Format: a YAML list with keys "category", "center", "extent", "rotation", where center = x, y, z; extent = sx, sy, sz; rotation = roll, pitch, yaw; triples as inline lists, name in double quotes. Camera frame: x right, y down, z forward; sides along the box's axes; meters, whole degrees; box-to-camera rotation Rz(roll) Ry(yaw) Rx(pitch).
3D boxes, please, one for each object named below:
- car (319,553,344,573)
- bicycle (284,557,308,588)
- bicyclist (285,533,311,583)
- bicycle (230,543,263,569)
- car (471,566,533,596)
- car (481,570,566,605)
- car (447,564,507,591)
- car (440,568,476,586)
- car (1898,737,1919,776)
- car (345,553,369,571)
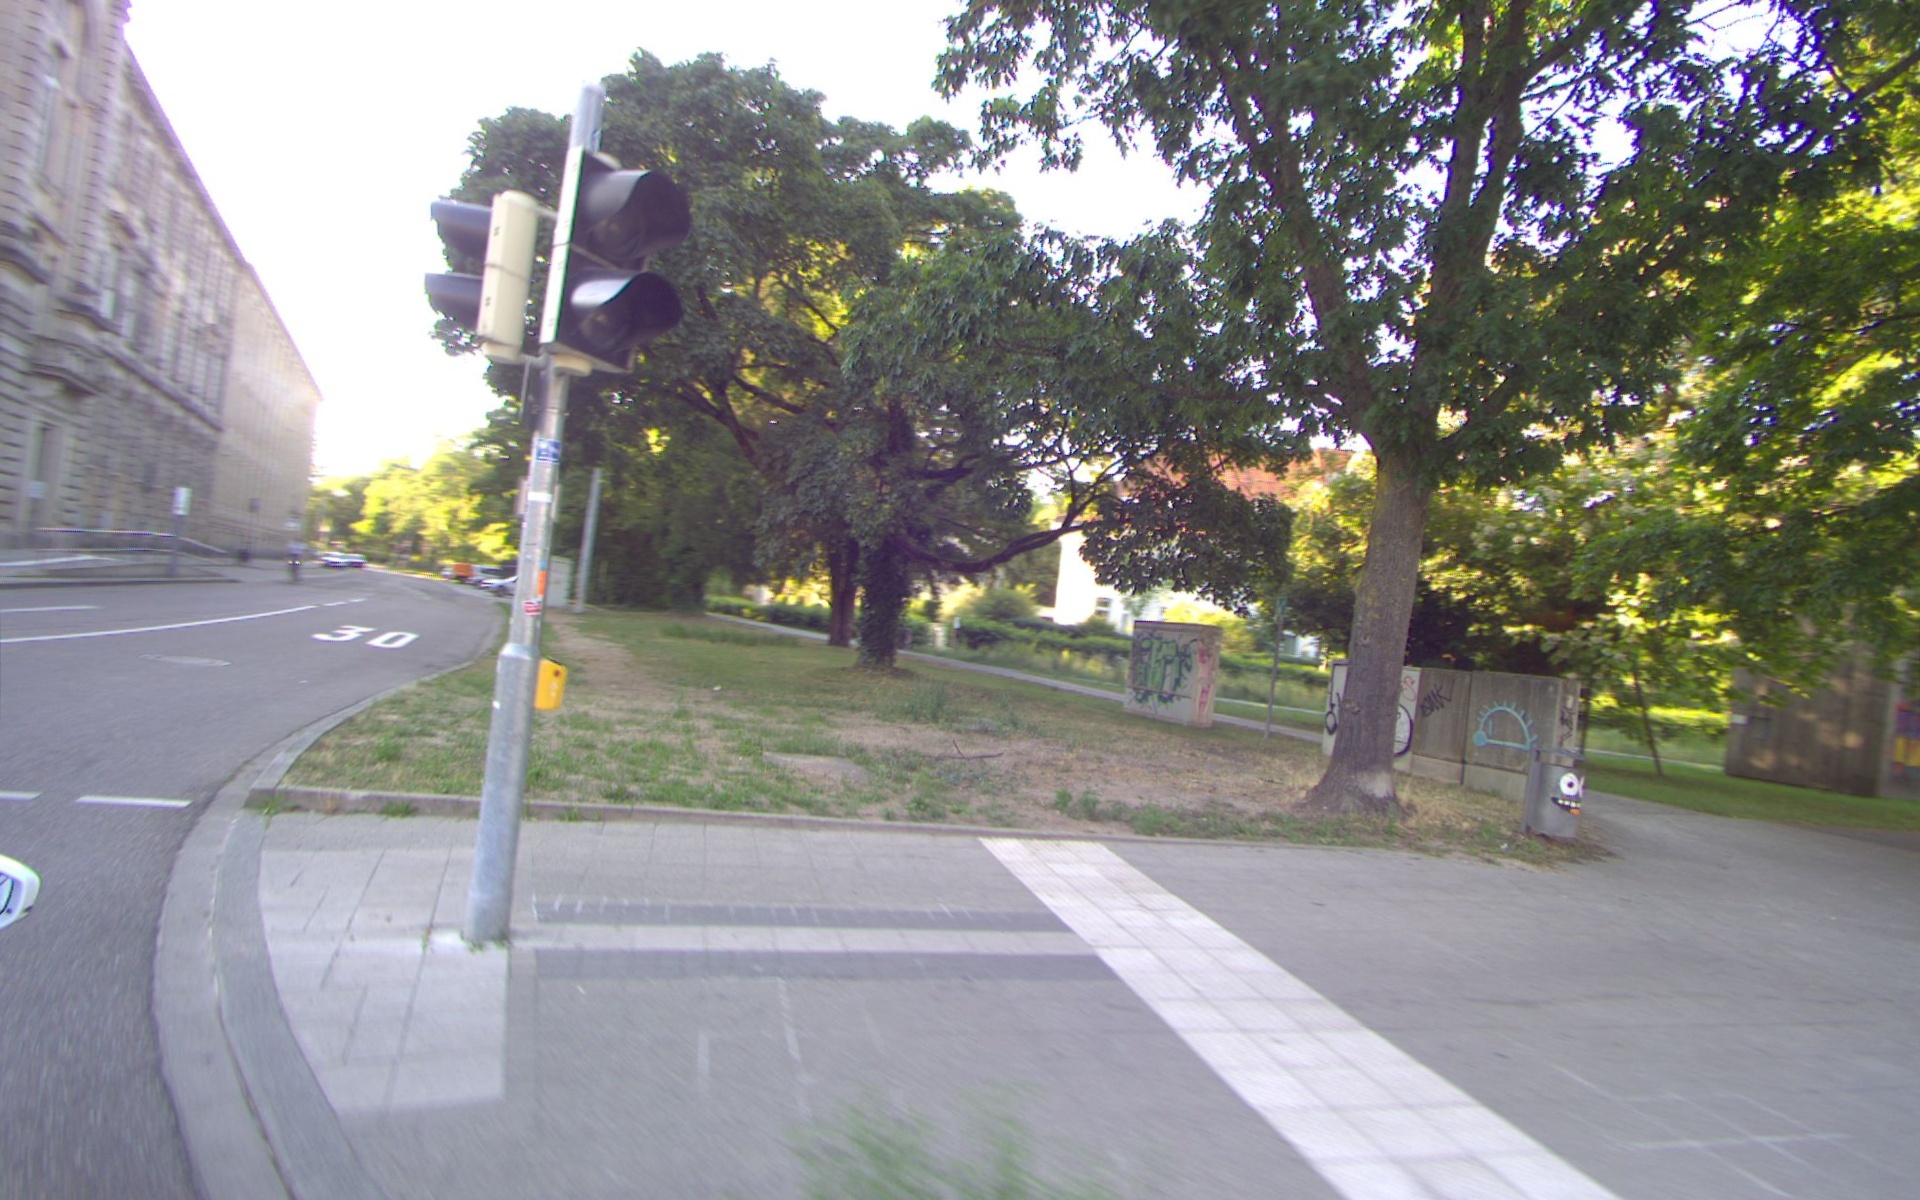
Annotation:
- category: "car"
  center: [-54.445, -3.226, 87.174]
  extent: [1.716, 1.413, 4.338]
  rotation: [8, -2, -32]
- category: "bicycle"
  center: [-25.475, -1.079, 38.602]
  extent: [0.658, 1.083, 2.134]
  rotation: [7, -1, -34]
- category: "bicyclist"
  center: [-25.444, -1.626, 38.664]
  extent: [0.641, 1.828, 0.773]
  rotation: [7, -1, -34]
- category: "bicycle"
  center: [-34.639, -2.122, 48.862]
  extent: [0.845, 1.113, 1.971]
  rotation: [10, -3, -25]
- category: "car"
  center: [-36.191, -1.470, 79.466]
  extent: [4.193, 1.882, 1.987]
  rotation: [7, -2, -29]
- category: "car"
  center: [-25.965, -0.739, 59.900]
  extent: [4.407, 1.486, 1.769]
  rotation: [7, -1, -30]
- category: "car"
  center: [-46.028, -2.177, 95.924]
  extent: [4.790, 2.038, 1.785]
  rotation: [6, -1, -36]
- category: "car"
  center: [-52.035, -2.343, 104.271]
  extent: [3.125, 1.521, 1.526]
  rotation: [6, -1, -36]
- category: "car"
  center: [47.420, 7.695, 47.308]
  extent: [4.551, 1.739, 2.001]
  rotation: [7, -1, 2]
- category: "car"
  center: [-61.755, -3.918, 102.956]
  extent: [1.866, 1.483, 4.337]
  rotation: [8, -2, -32]
